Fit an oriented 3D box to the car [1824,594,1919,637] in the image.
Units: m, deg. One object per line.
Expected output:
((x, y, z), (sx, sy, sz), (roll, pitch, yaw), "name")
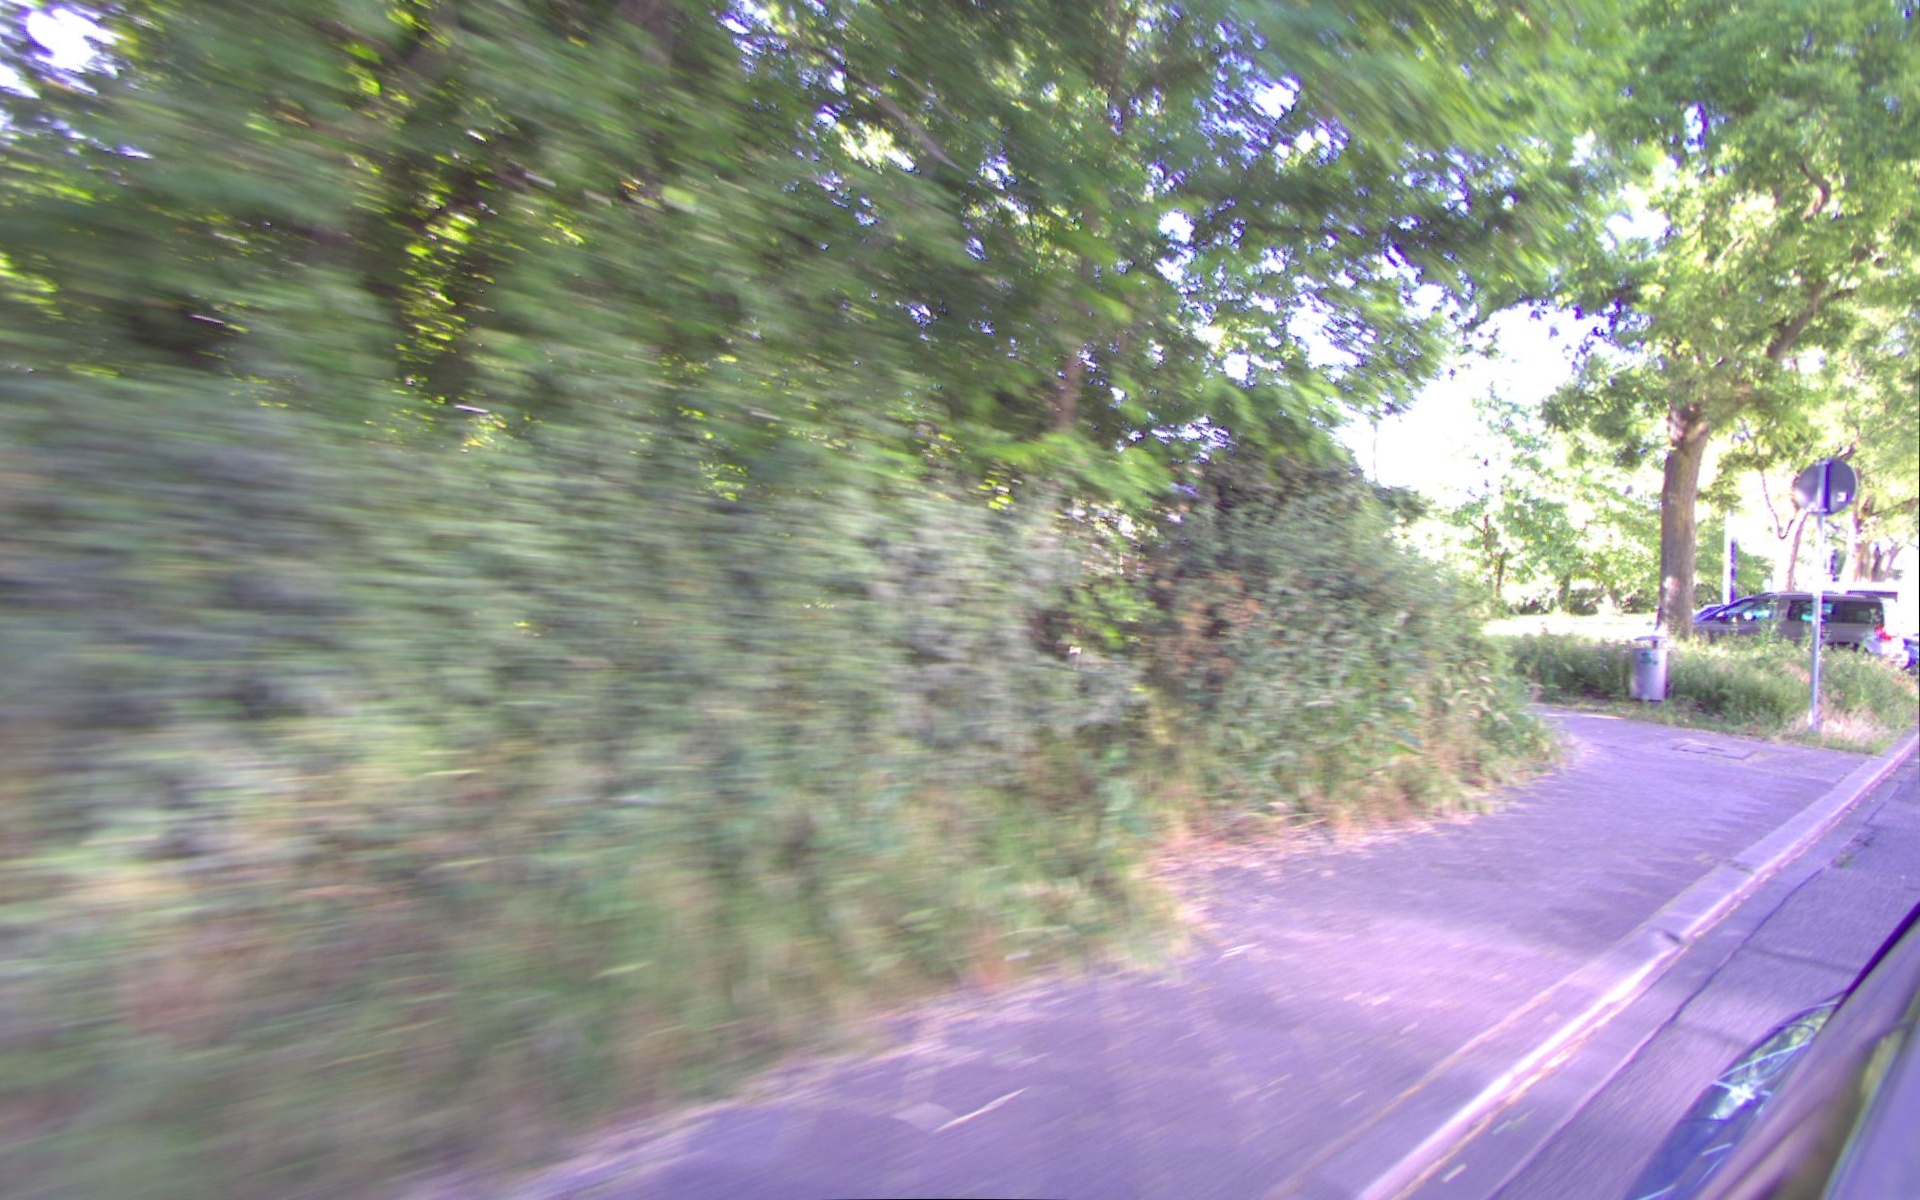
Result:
((34.176, 0.554, 36.509), (1.717, 1.490, 4.482), (0, 1, -44), "car")

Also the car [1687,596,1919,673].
((18.156, 0.665, 21.243), (1.745, 1.432, 4.457), (0, 1, -43), "car")

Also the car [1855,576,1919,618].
((41.282, -0.139, 43.573), (1.717, 1.786, 4.044), (0, 1, -44), "car")

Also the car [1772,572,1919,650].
((25.453, 0.261, 27.922), (1.986, 2.041, 4.459), (0, 1, -41), "car")

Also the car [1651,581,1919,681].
((16.141, 0.500, 19.691), (1.743, 1.716, 4.157), (0, 1, -40), "car")
